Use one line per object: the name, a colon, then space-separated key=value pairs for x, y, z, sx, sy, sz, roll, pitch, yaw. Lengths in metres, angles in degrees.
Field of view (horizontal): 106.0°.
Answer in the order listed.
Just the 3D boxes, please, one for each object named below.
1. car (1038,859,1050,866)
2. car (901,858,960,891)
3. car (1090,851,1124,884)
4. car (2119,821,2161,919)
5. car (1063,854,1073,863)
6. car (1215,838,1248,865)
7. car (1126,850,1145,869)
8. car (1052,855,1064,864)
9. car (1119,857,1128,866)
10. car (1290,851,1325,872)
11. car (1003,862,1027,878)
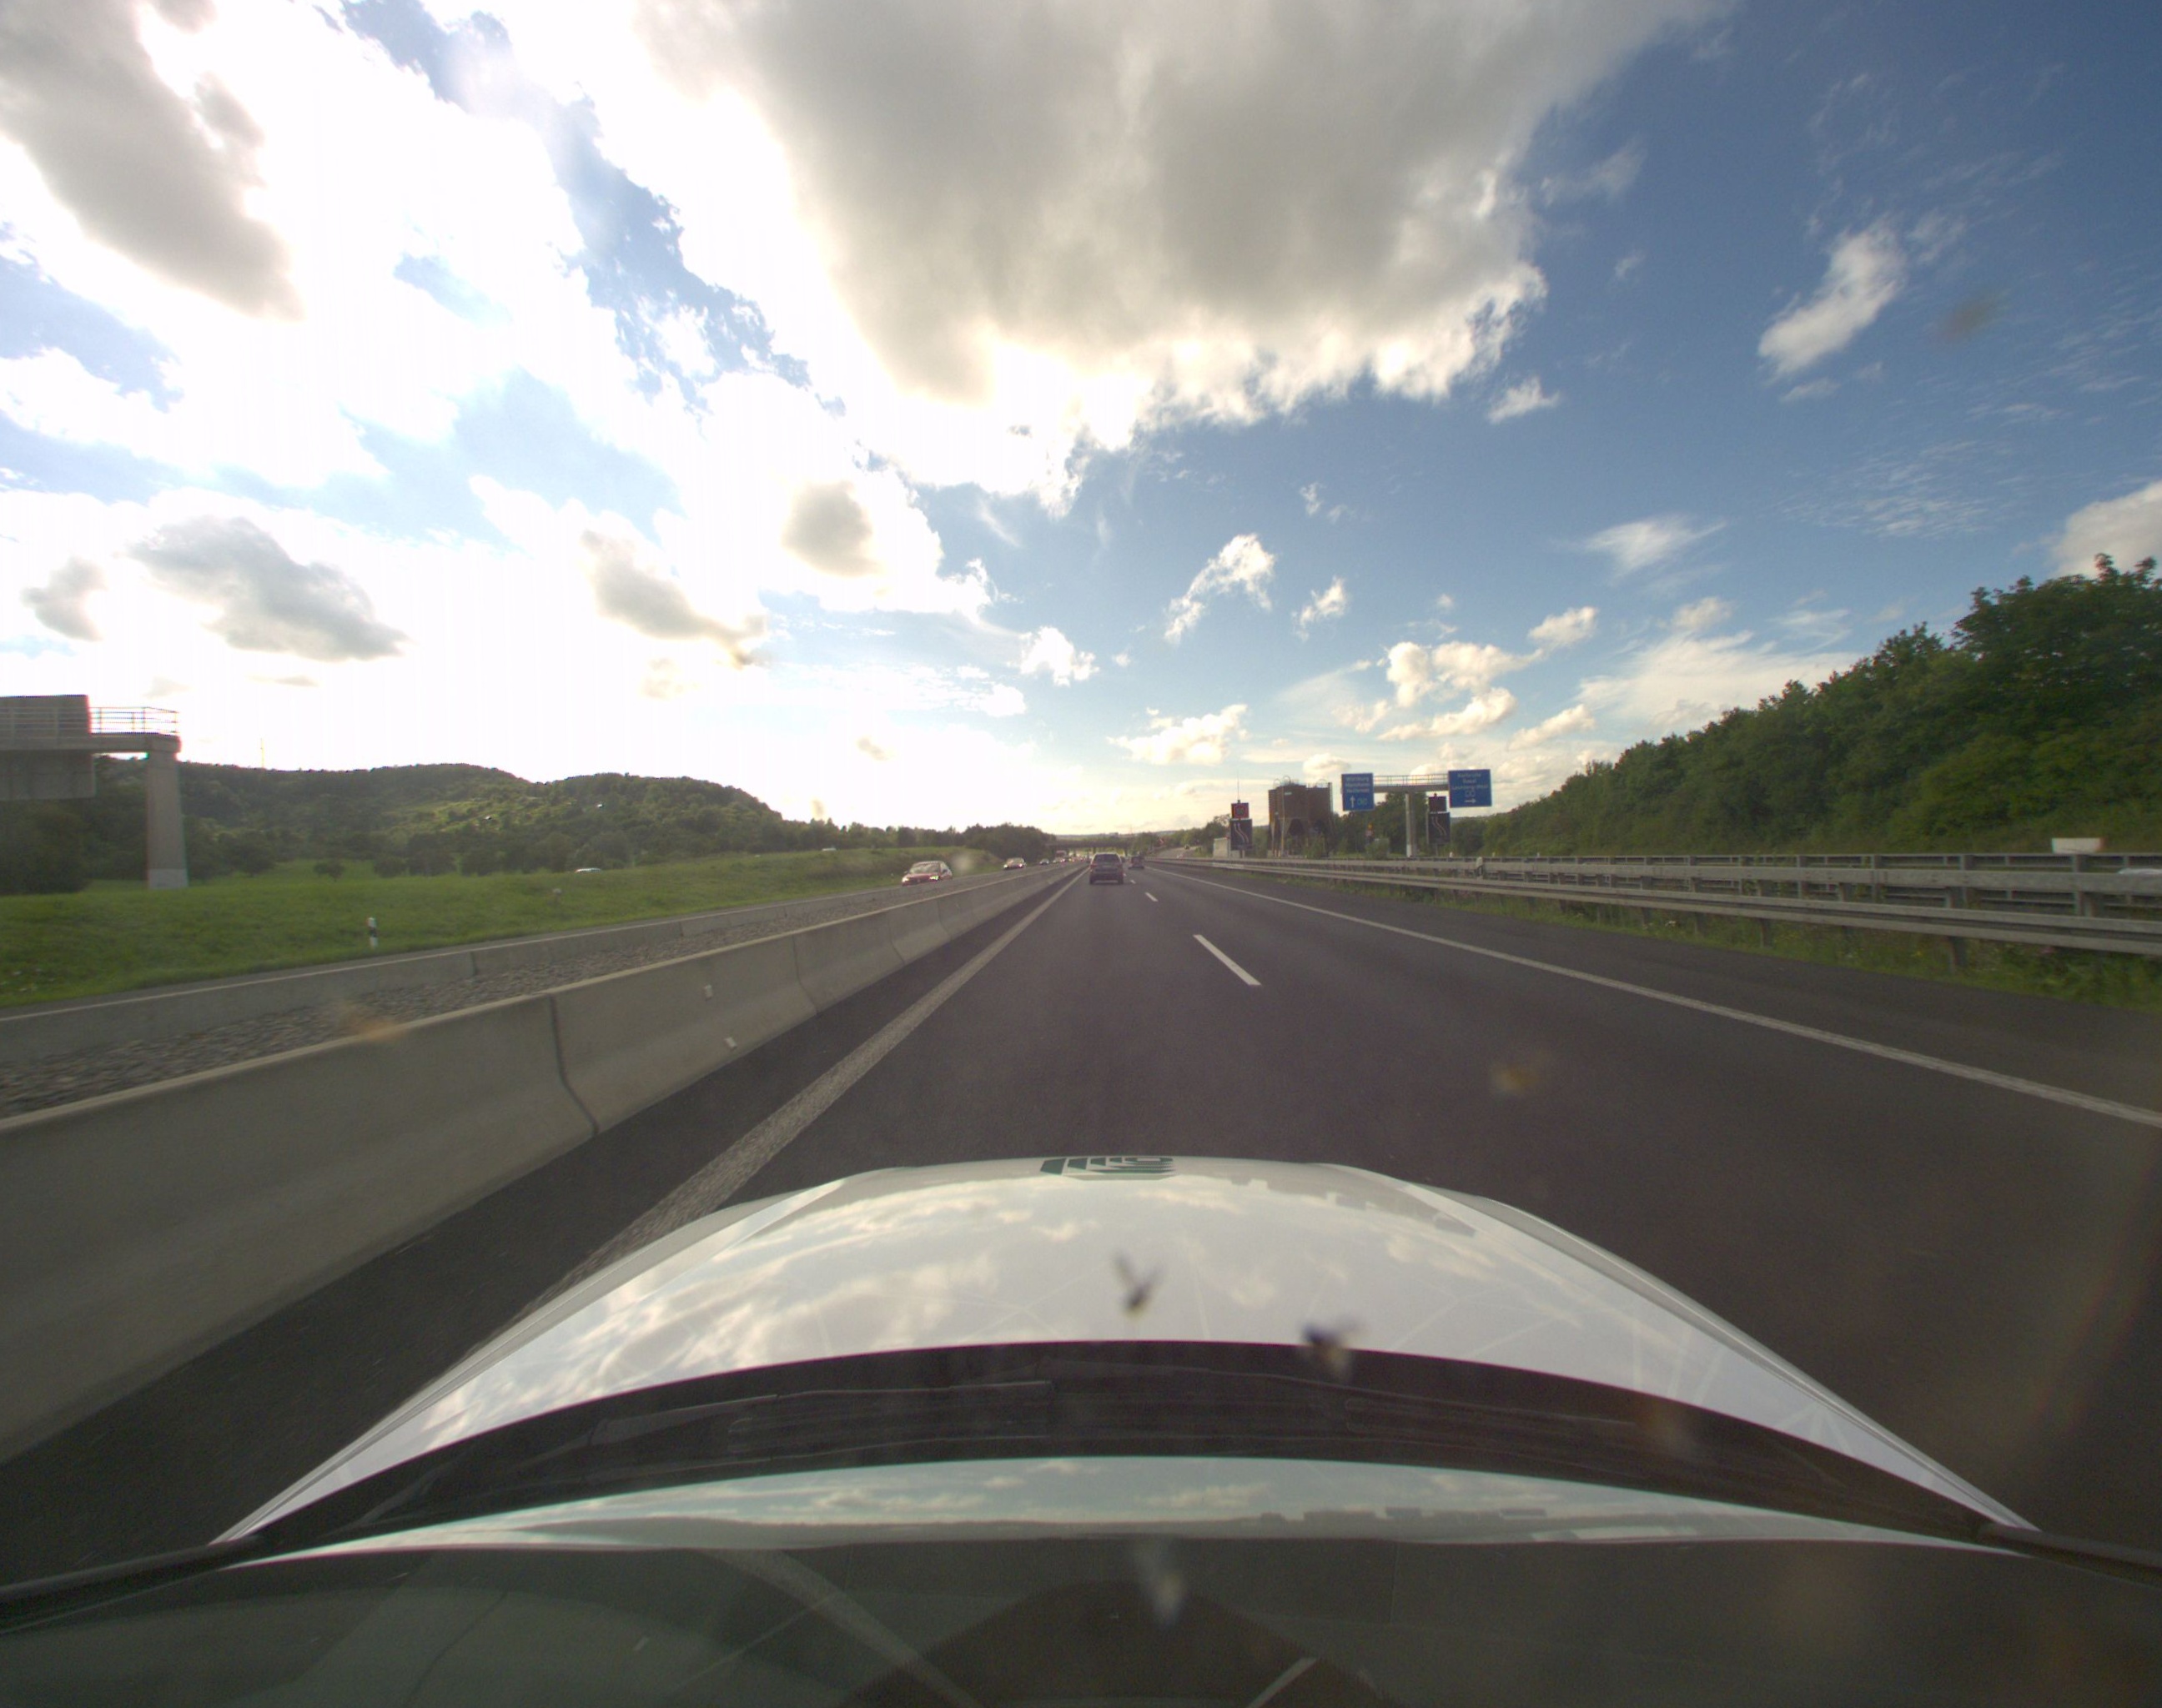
car: x=-7.909 y=1.816 z=173.262 sx=1.986 sy=1.478 sz=4.694 roll=-3 pitch=0 yaw=2
car: x=-7.161 y=0.924 z=39.221 sx=1.781 sy=1.398 sz=4.801 roll=-3 pitch=0 yaw=1
car: x=1.468 y=0.719 z=44.852 sx=1.742 sy=1.630 sz=3.611 roll=-3 pitch=0 yaw=3
car: x=19.869 y=0.223 z=12.803 sx=1.986 sy=1.708 sz=4.001 roll=-3 pitch=0 yaw=2
car: x=-3.000 y=1.083 z=188.575 sx=1.986 sy=2.013 sz=5.844 roll=-3 pitch=0 yaw=2
car: x=22.669 y=-0.335 z=122.903 sx=3.563 sy=3.676 sz=7.551 roll=-3 pitch=0 yaw=2
car: x=6.170 y=0.631 z=92.436 sx=1.986 sy=2.081 sz=4.001 roll=-3 pitch=0 yaw=2
car: x=-4.513 y=1.147 z=162.486 sx=1.986 sy=1.573 sz=5.368 roll=-3 pitch=0 yaw=2
car: x=9.907 y=1.730 z=190.349 sx=1.968 sy=1.779 sz=4.121 roll=-3 pitch=0 yaw=1
car: x=19.983 y=0.653 z=71.991 sx=1.986 sy=1.717 sz=4.001 roll=-3 pitch=0 yaw=2
car: x=-6.520 y=1.534 z=80.500 sx=1.781 sy=1.398 sz=4.624 roll=-3 pitch=0 yaw=1
